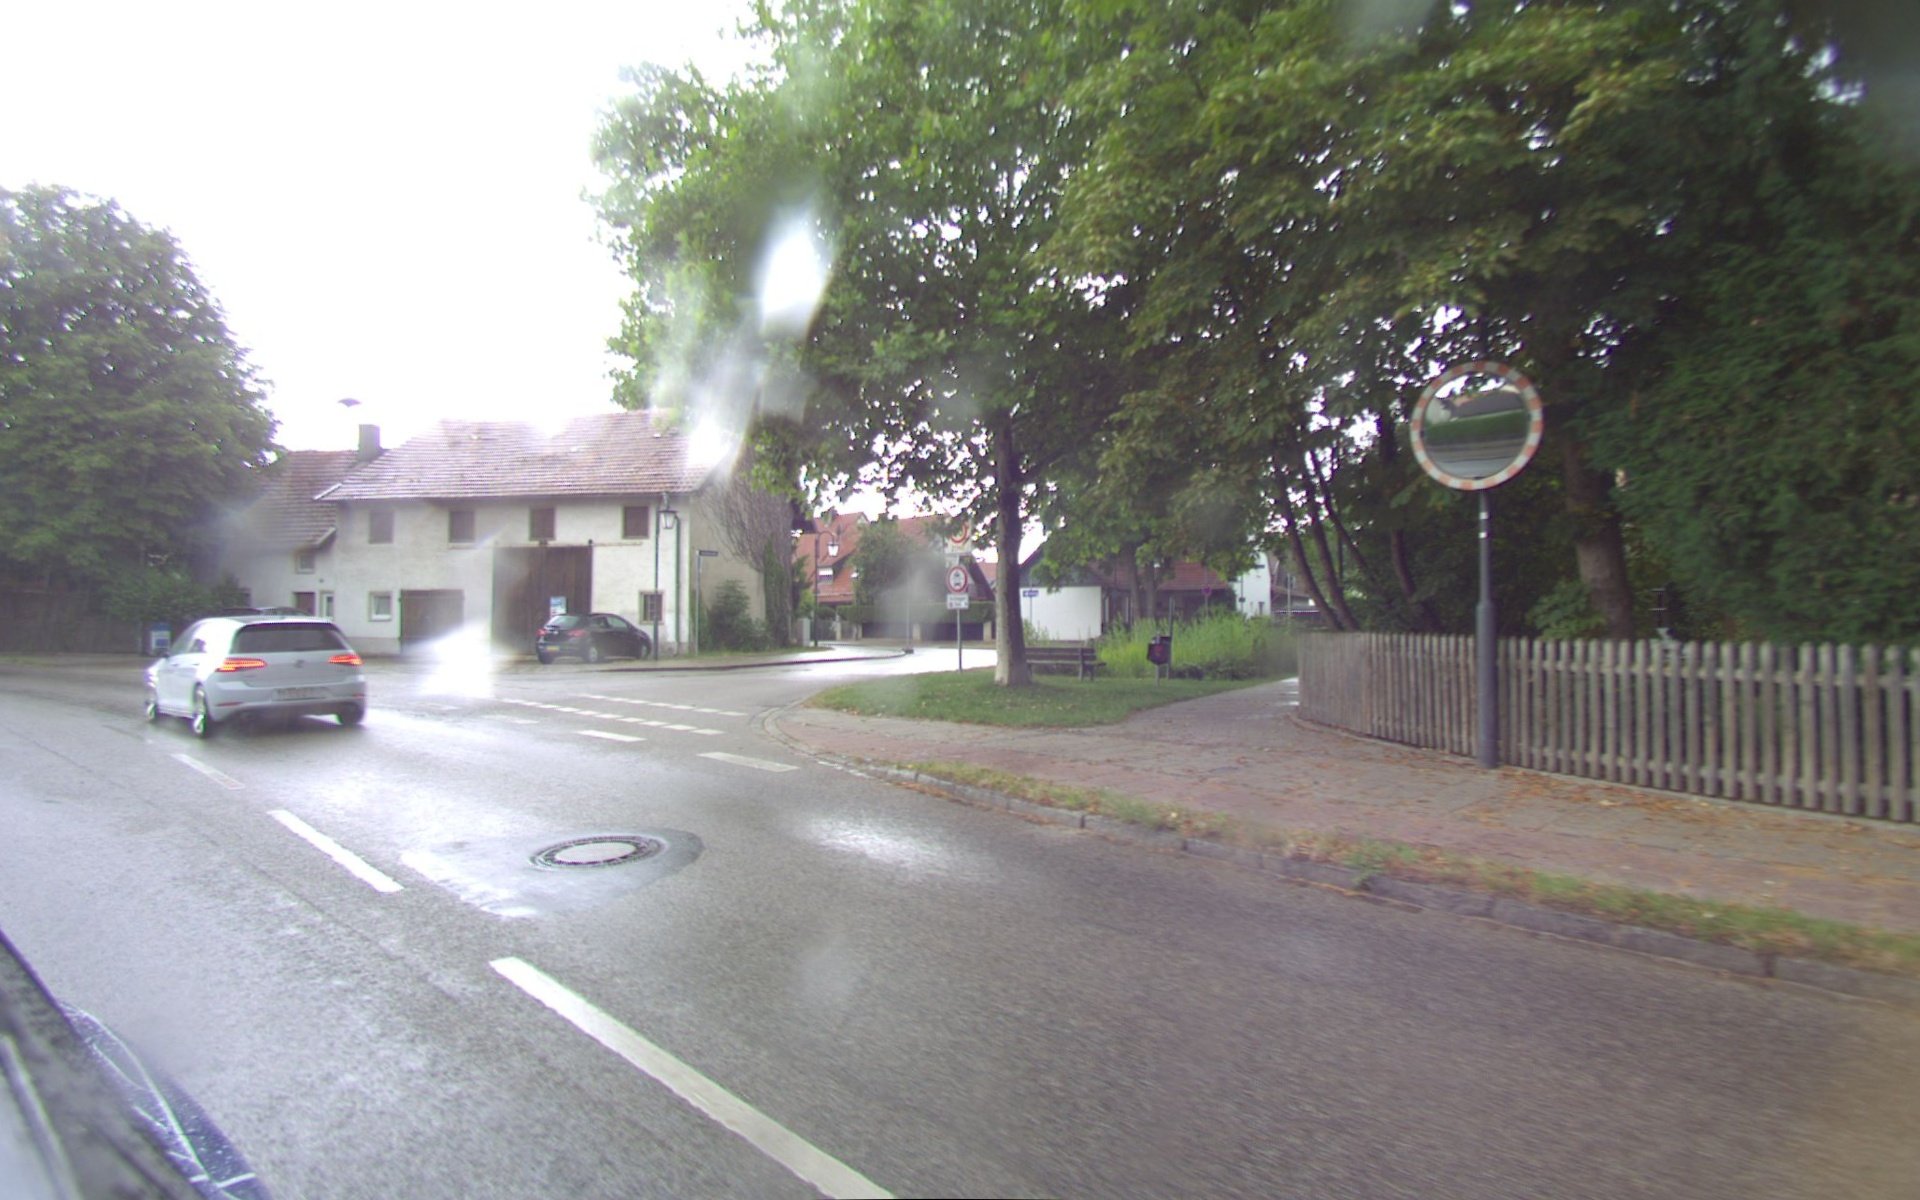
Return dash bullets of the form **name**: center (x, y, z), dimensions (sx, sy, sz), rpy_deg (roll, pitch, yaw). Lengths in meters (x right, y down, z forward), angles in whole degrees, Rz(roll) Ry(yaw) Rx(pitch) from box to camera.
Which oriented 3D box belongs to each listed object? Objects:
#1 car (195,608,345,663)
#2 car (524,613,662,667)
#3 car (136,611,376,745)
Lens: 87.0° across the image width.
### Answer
- **car**: center (-21.206, 1.123, 31.346), dimensions (1.792, 1.560, 4.282), rpy_deg (0, -3, -2)
- **car**: center (-10.643, 1.116, 29.733), dimensions (1.803, 1.447, 4.263), rpy_deg (0, -1, 13)
- **car**: center (-9.411, 0.903, 13.417), dimensions (3.998, 1.453, 1.699), rpy_deg (0, 1, 41)
